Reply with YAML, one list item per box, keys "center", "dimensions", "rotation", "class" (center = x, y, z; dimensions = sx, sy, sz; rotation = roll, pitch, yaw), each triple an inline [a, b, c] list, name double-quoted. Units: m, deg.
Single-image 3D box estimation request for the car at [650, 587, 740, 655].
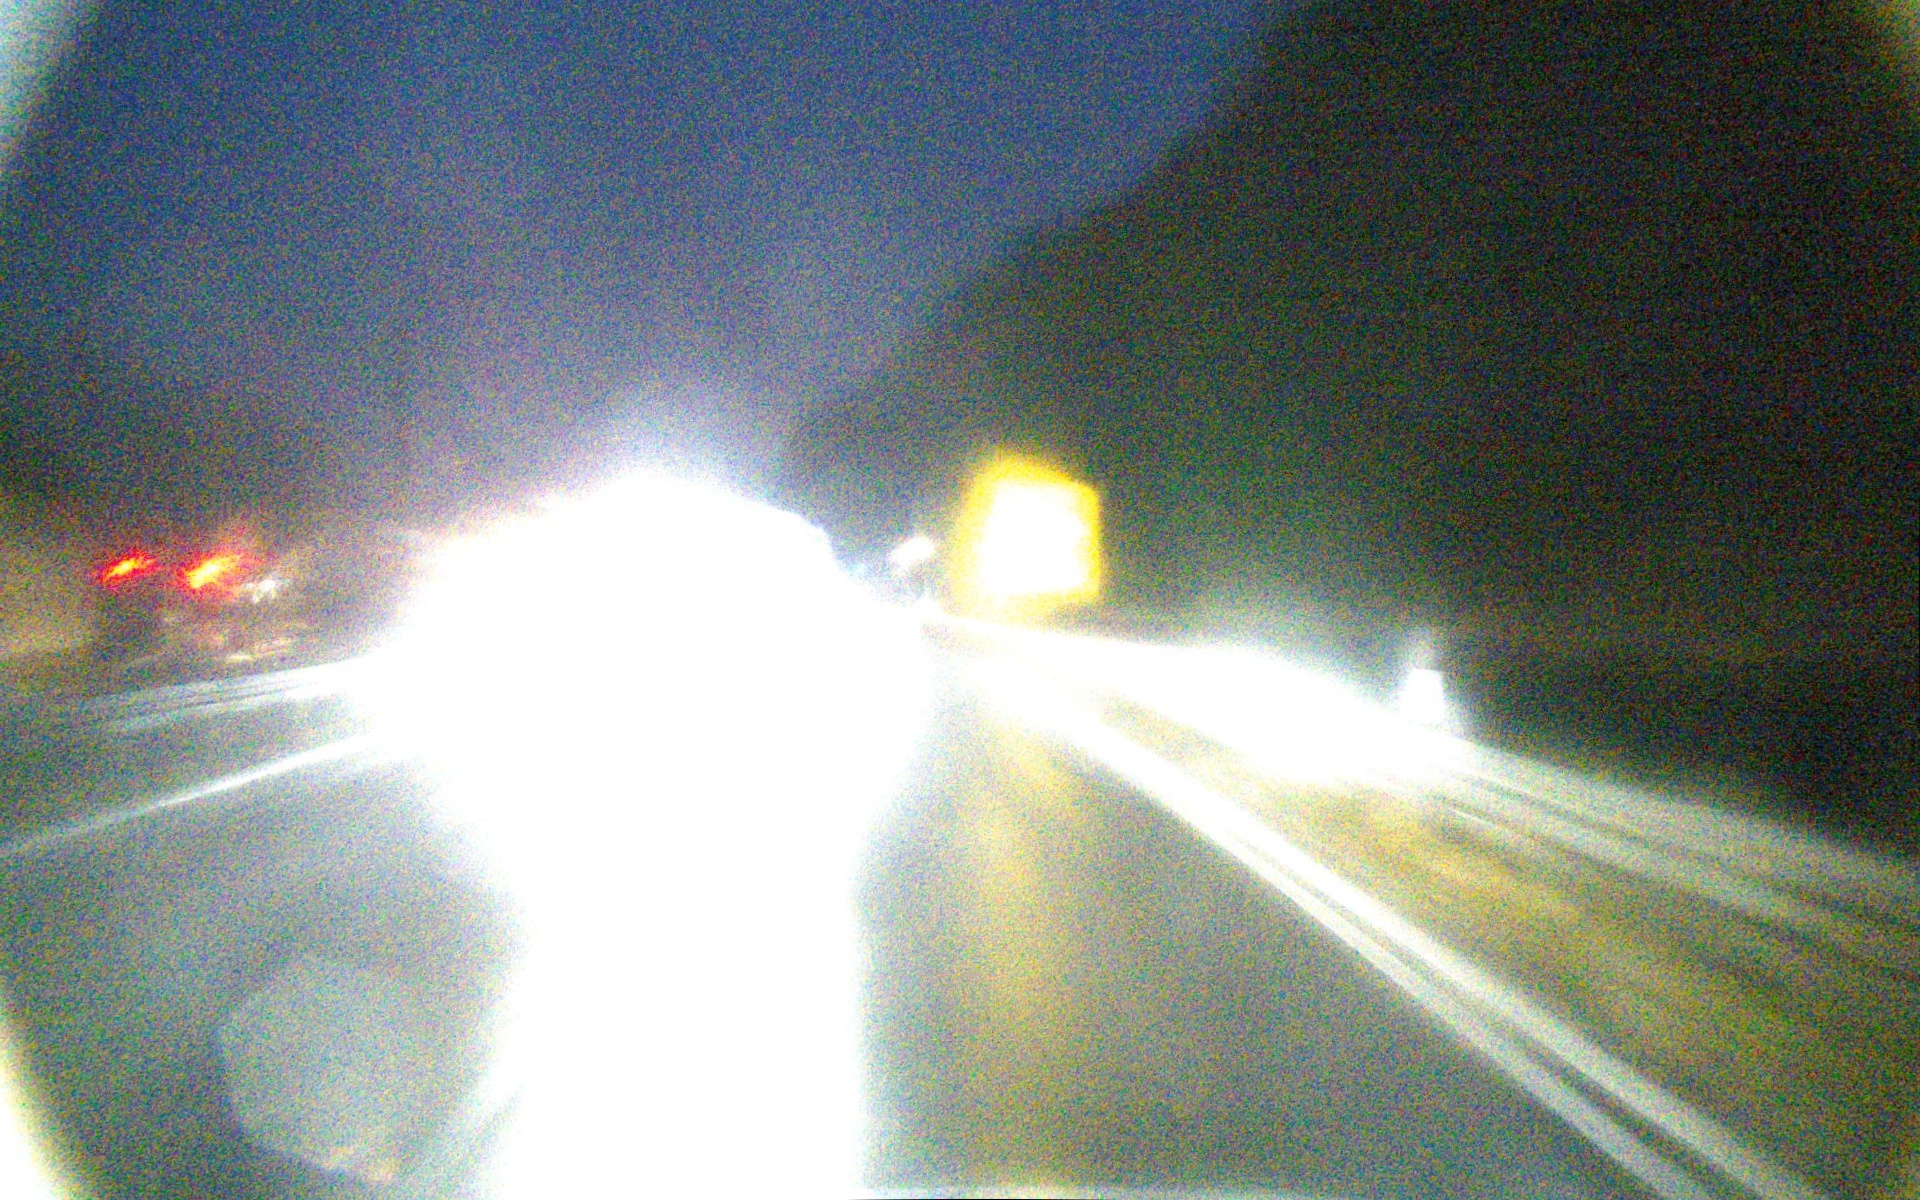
- center: [-6.777, 0.518, 42.714]
  dimensions: [1.954, 1.641, 4.607]
  rotation: [0, 0, -5]
  class: "car"
